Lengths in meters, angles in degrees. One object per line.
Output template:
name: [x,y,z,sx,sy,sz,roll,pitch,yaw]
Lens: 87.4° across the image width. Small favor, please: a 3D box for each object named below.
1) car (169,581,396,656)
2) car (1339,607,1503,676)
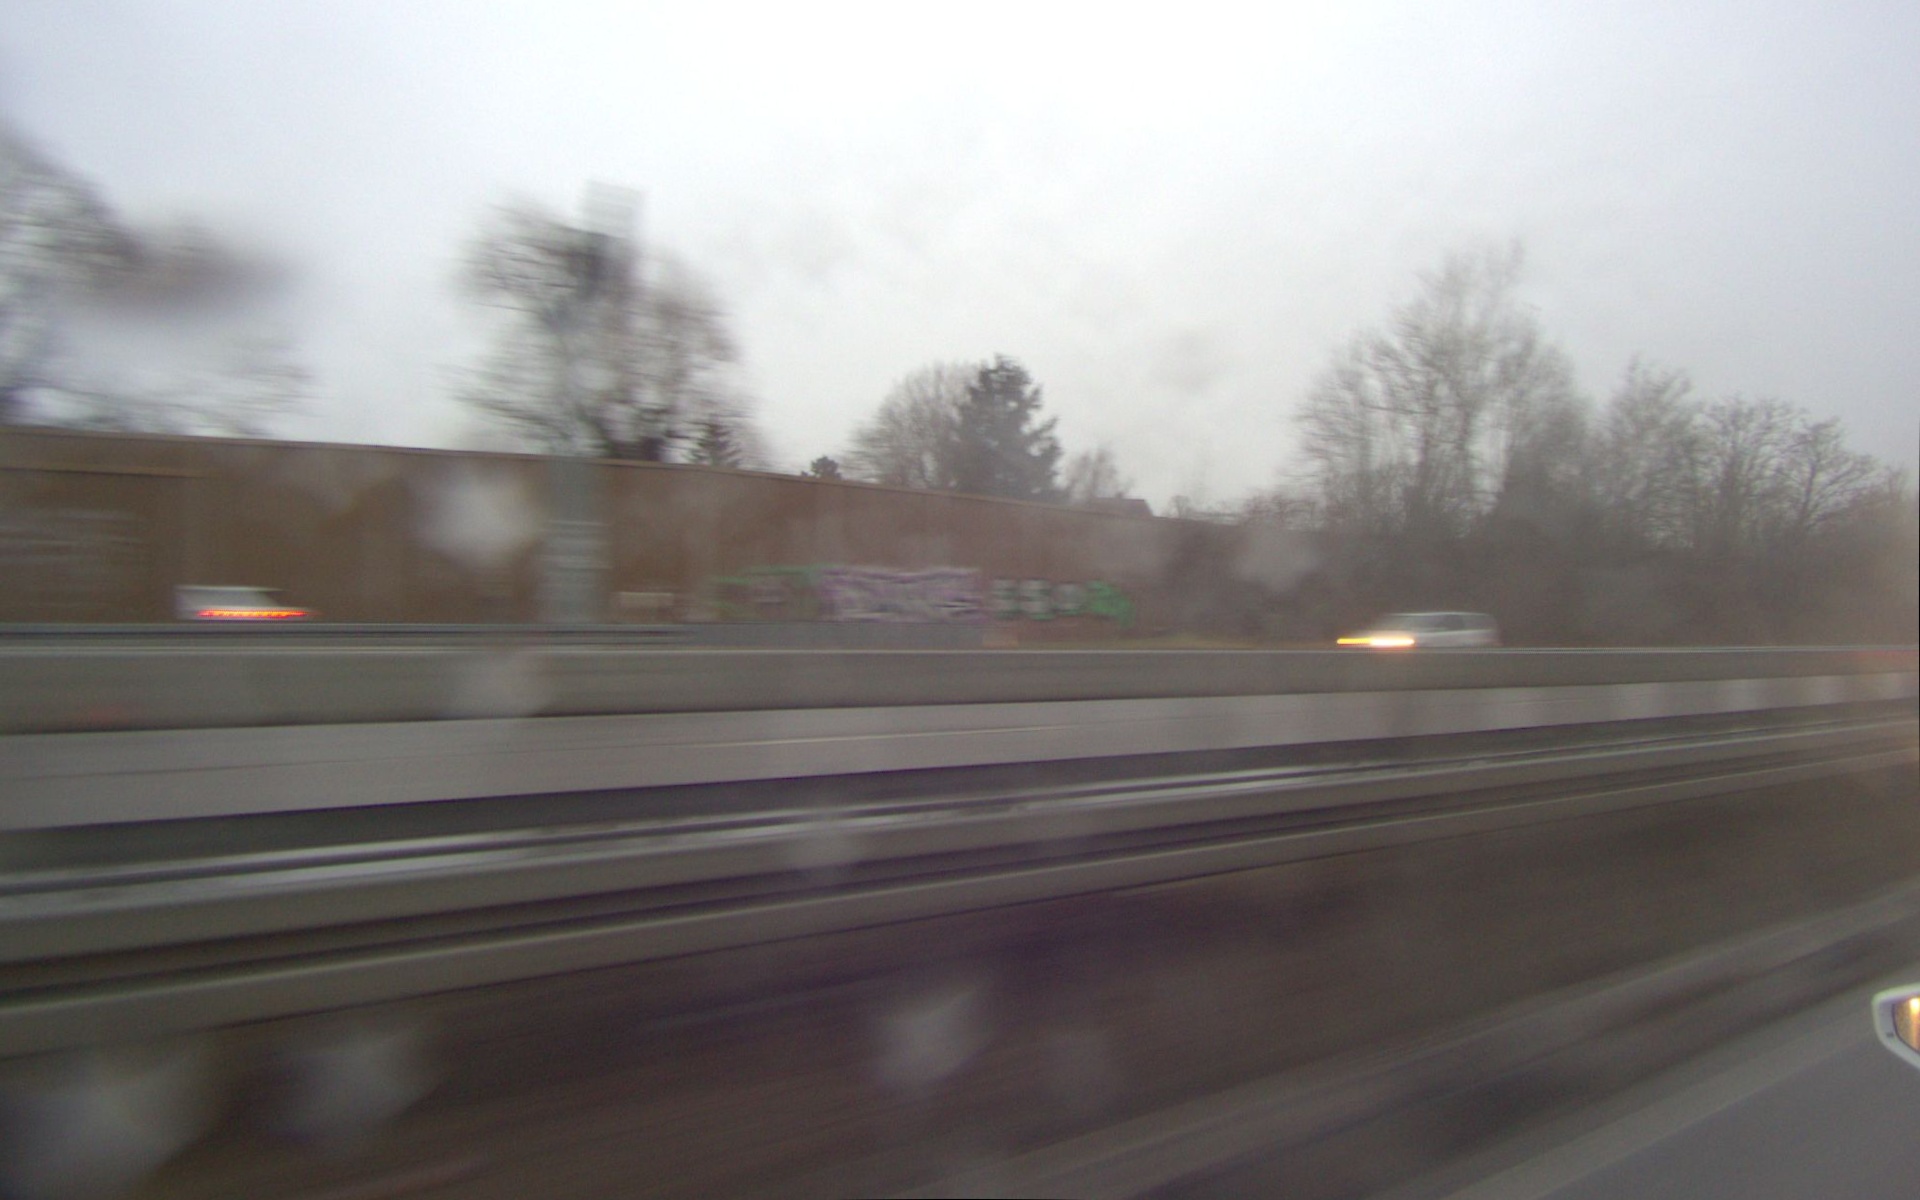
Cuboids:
car: [-13.742,0.376,20.571,3.462,1.414,1.650,1,0,-12]
car: [13.887,1.230,30.263,4.379,1.939,1.990,1,0,-21]
